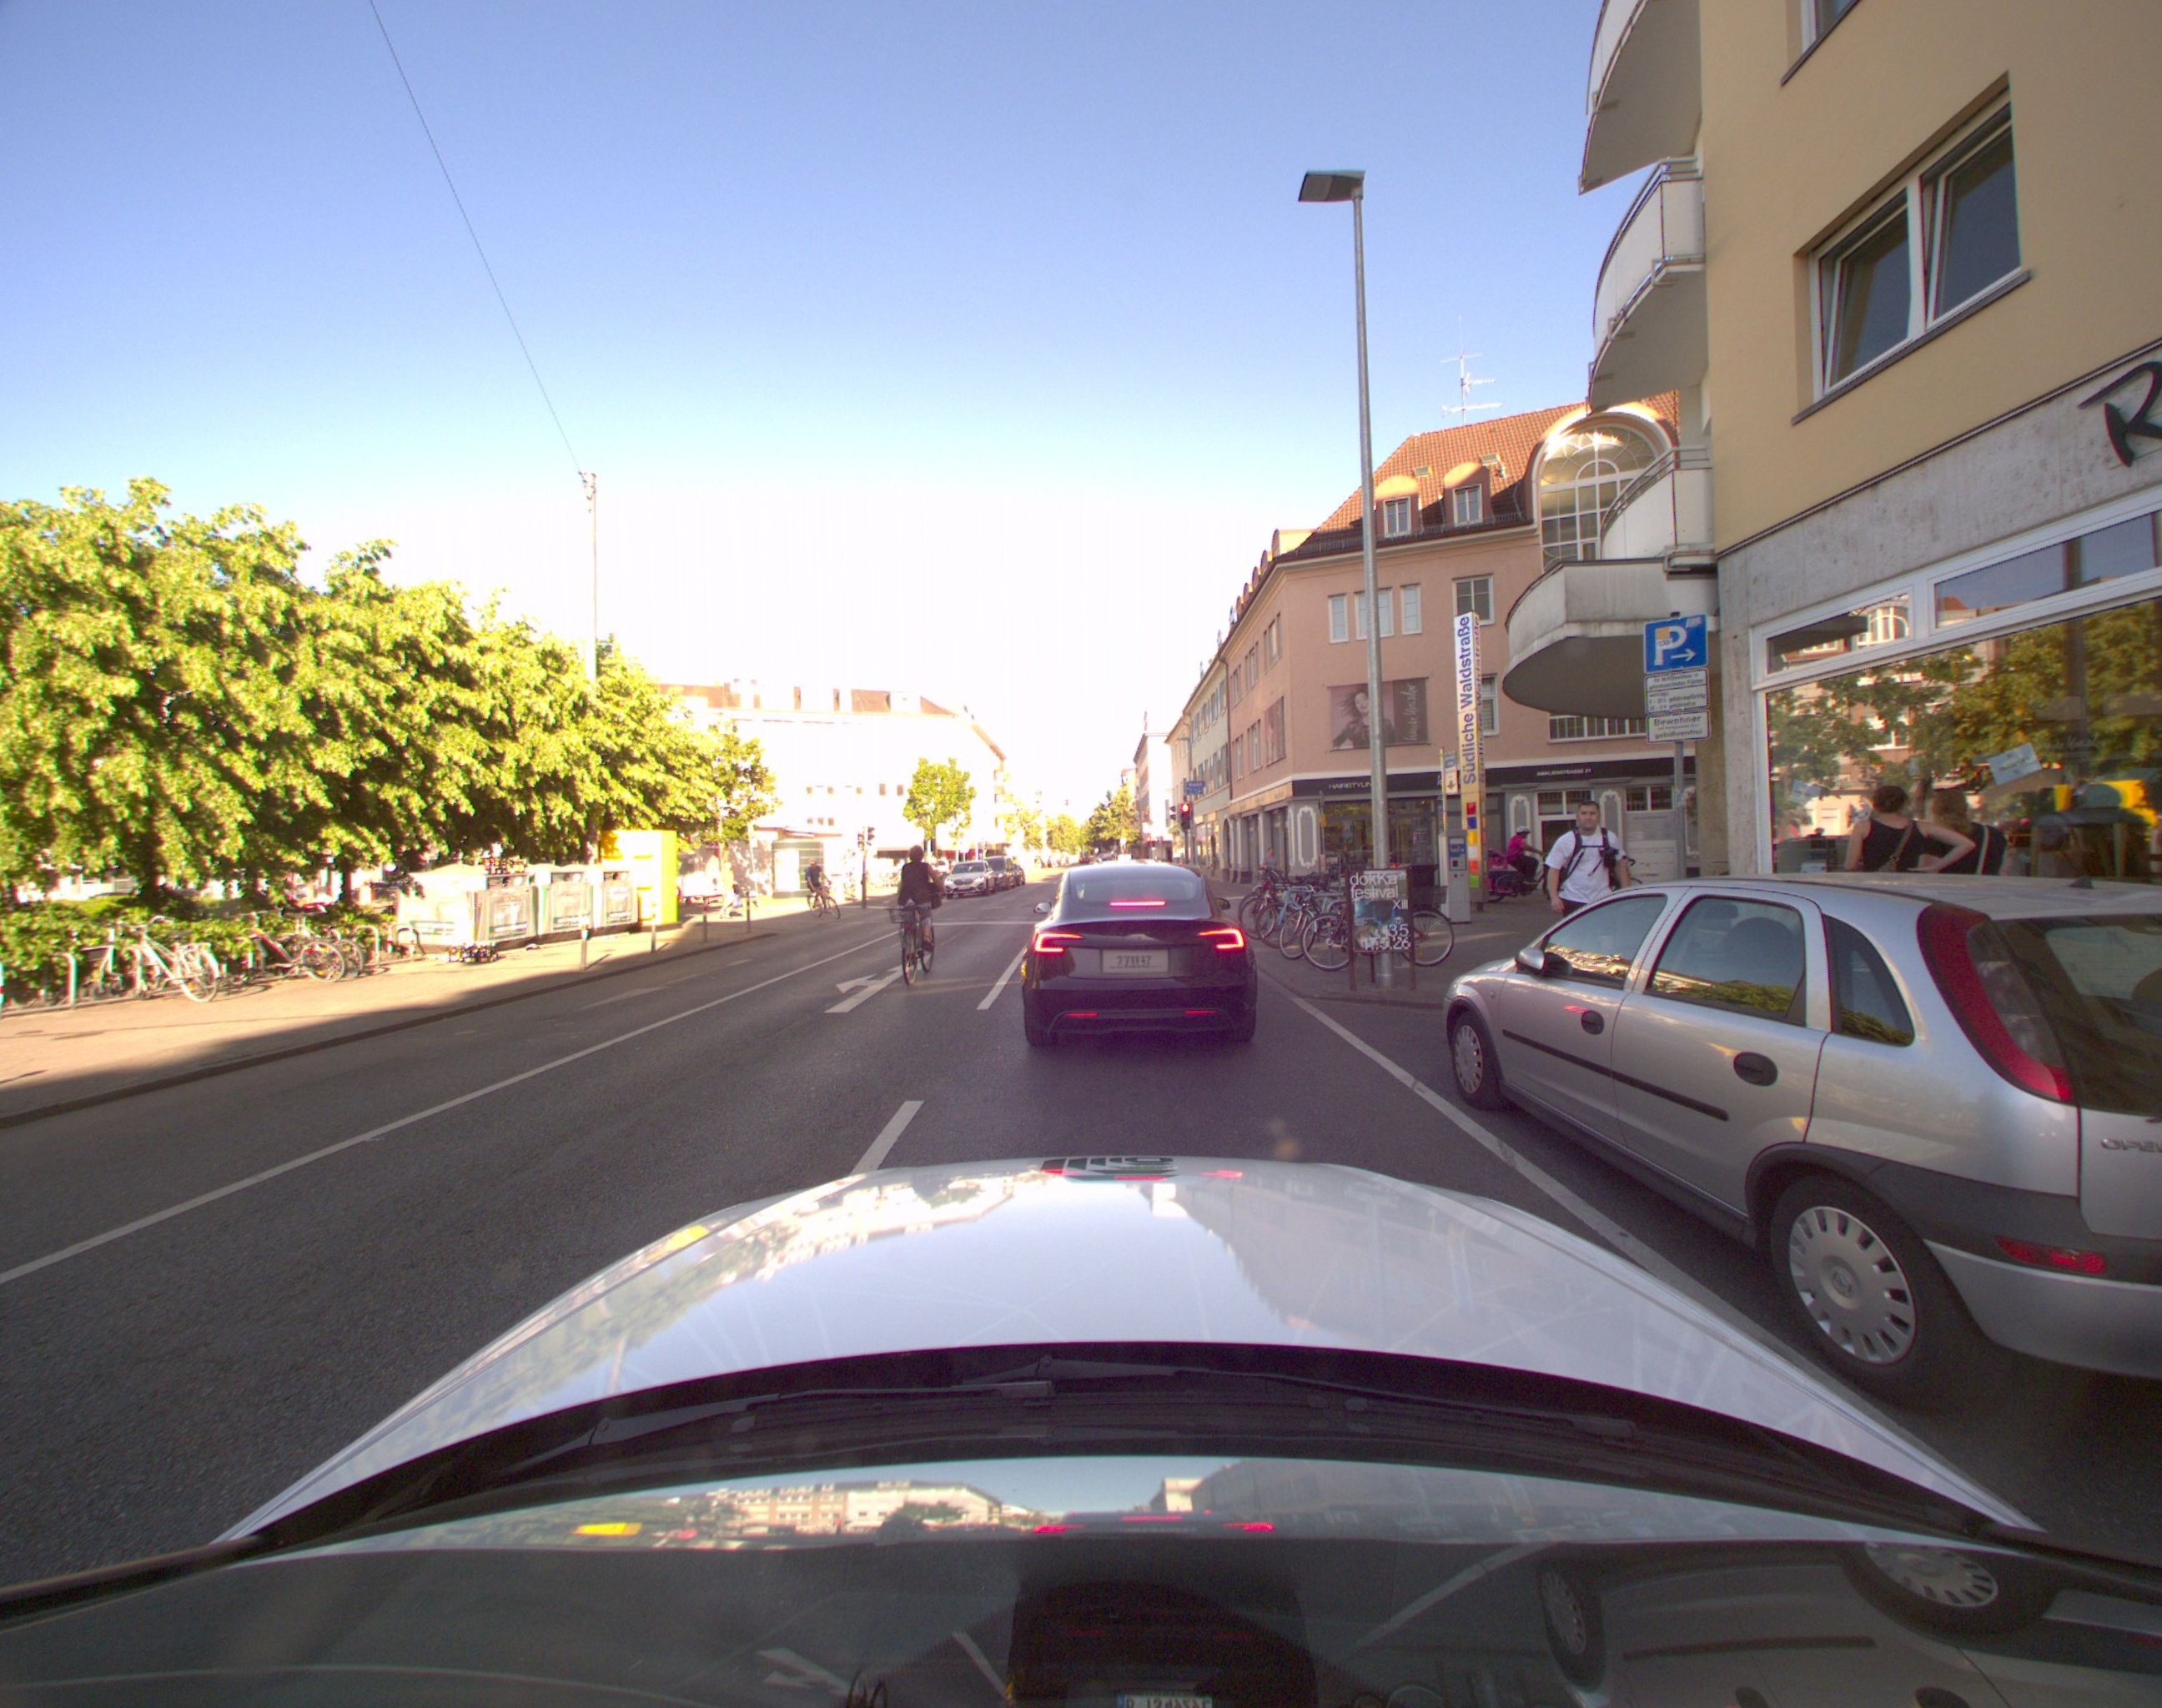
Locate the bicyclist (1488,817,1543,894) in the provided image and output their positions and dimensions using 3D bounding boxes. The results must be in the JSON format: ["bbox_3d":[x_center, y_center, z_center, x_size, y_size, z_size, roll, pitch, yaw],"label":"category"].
[{"bbox_3d":[10.476,0.046,19.662,0.859,1.755,0.683,-4,-2,9],"label":"bicyclist"}]

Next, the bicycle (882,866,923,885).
[{"bbox_3d":[-12.055,1.421,54.998,2.535,1.251,0.942,0,-1,-1],"label":"bicycle"}]

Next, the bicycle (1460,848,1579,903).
[{"bbox_3d":[10.548,0.522,19.650,2.376,1.151,0.714,-4,-1,8],"label":"bicycle"}]

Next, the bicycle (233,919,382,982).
[{"bbox_3d":[-11.460,1.426,12.096,1.663,0.859,0.469,0,-1,-5],"label":"bicycle"}]

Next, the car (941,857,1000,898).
[{"bbox_3d":[-4.885,1.017,36.592,1.818,1.565,4.302,-5,-1,2],"label":"car"}]

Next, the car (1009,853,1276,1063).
[{"bbox_3d":[0.497,0.741,7.877,1.843,1.447,4.453,0,0,2],"label":"car"}]

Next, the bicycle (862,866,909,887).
[{"bbox_3d":[-12.056,1.387,50.295,2.655,1.259,0.942,0,-1,-1],"label":"bicycle"}]

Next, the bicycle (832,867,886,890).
[{"bbox_3d":[-12.395,1.371,45.581,2.772,1.274,0.933,0,-1,-2],"label":"bicycle"}]

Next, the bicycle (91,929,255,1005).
[{"bbox_3d":[-11.461,1.419,10.299,1.560,0.886,0.470,0,-1,1],"label":"bicycle"}]

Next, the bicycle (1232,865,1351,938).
[{"bbox_3d":[3.497,0.778,13.637,1.806,1.152,0.653,-1,0,3],"label":"bicycle"}]

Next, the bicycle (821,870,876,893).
[{"bbox_3d":[-12.327,1.439,43.238,2.652,1.195,0.942,0,-1,-1],"label":"bicycle"}]

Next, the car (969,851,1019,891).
[{"bbox_3d":[-4.497,0.836,42.915,1.938,1.947,4.822,-1,0,2],"label":"car"}]

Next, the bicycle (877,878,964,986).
[{"bbox_3d":[-2.034,0.945,10.574,0.625,1.223,2.002,0,0,3],"label":"bicycle"}]

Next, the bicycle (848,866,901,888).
[{"bbox_3d":[-12.157,1.364,47.977,2.867,1.270,0.942,0,-1,-1],"label":"bicycle"}]

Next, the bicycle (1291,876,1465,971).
[{"bbox_3d":[3.637,0.848,10.077,1.875,1.044,0.653,-2,0,2],"label":"bicycle"}]

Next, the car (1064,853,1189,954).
[{"bbox_3d":[0.743,0.752,14.301,1.843,1.482,4.453,0,0,2],"label":"car"}]

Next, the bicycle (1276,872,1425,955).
[{"bbox_3d":[3.657,0.800,11.150,1.806,1.060,0.653,-1,0,3],"label":"bicycle"}]

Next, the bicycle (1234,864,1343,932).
[{"bbox_3d":[3.738,0.786,14.766,1.806,1.152,0.653,-1,0,3],"label":"bicycle"}]

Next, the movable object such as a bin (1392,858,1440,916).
[{"bbox_3d":[6.745,0.662,16.417,0.633,1.103,0.728,-4,-1,5],"label":"movable object such as a bin"}]

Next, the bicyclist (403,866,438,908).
[{"bbox_3d":[-22.350,1.104,27.568,0.701,1.381,0.577,-3,-2,14],"label":"bicyclist"}]

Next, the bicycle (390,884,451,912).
[{"bbox_3d":[-22.334,1.492,27.553,1.840,0.823,0.583,-4,-1,14],"label":"bicycle"}]

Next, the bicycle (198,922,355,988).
[{"bbox_3d":[-11.426,1.425,11.597,1.667,0.859,0.469,0,-1,-5],"label":"bicycle"}]

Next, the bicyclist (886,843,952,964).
[{"bbox_3d":[-2.069,0.610,10.480,0.603,1.484,0.959,0,-1,3],"label":"bicyclist"}]

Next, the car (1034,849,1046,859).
[{"bbox_3d":[-9.029,-0.015,180.131,2.266,2.014,4.720,0,-1,3],"label":"car"}]

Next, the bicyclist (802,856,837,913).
[{"bbox_3d":[-7.991,0.910,24.885,0.800,1.709,0.707,-1,0,42],"label":"bicyclist"}]

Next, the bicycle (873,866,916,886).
[{"bbox_3d":[-12.001,1.401,52.570,2.535,1.251,0.942,0,-1,-1],"label":"bicycle"}]

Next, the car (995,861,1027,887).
[{"bbox_3d":[-4.259,1.206,50.041,1.455,1.430,3.607,-5,-1,2],"label":"car"}]

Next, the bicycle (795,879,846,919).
[{"bbox_3d":[-7.992,1.351,24.939,1.933,1.162,0.622,-1,-1,42],"label":"bicycle"}]

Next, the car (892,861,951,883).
[{"bbox_3d":[-14.914,1.648,76.209,5.213,1.866,1.871,-1,0,-20],"label":"car"}]

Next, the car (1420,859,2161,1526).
[{"bbox_3d":[2.962,0.741,3.541,1.578,1.426,3.581,0,-1,2],"label":"car"}]

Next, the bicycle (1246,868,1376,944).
[{"bbox_3d":[3.519,0.793,12.561,1.806,1.102,0.653,-1,0,3],"label":"bicycle"}]
